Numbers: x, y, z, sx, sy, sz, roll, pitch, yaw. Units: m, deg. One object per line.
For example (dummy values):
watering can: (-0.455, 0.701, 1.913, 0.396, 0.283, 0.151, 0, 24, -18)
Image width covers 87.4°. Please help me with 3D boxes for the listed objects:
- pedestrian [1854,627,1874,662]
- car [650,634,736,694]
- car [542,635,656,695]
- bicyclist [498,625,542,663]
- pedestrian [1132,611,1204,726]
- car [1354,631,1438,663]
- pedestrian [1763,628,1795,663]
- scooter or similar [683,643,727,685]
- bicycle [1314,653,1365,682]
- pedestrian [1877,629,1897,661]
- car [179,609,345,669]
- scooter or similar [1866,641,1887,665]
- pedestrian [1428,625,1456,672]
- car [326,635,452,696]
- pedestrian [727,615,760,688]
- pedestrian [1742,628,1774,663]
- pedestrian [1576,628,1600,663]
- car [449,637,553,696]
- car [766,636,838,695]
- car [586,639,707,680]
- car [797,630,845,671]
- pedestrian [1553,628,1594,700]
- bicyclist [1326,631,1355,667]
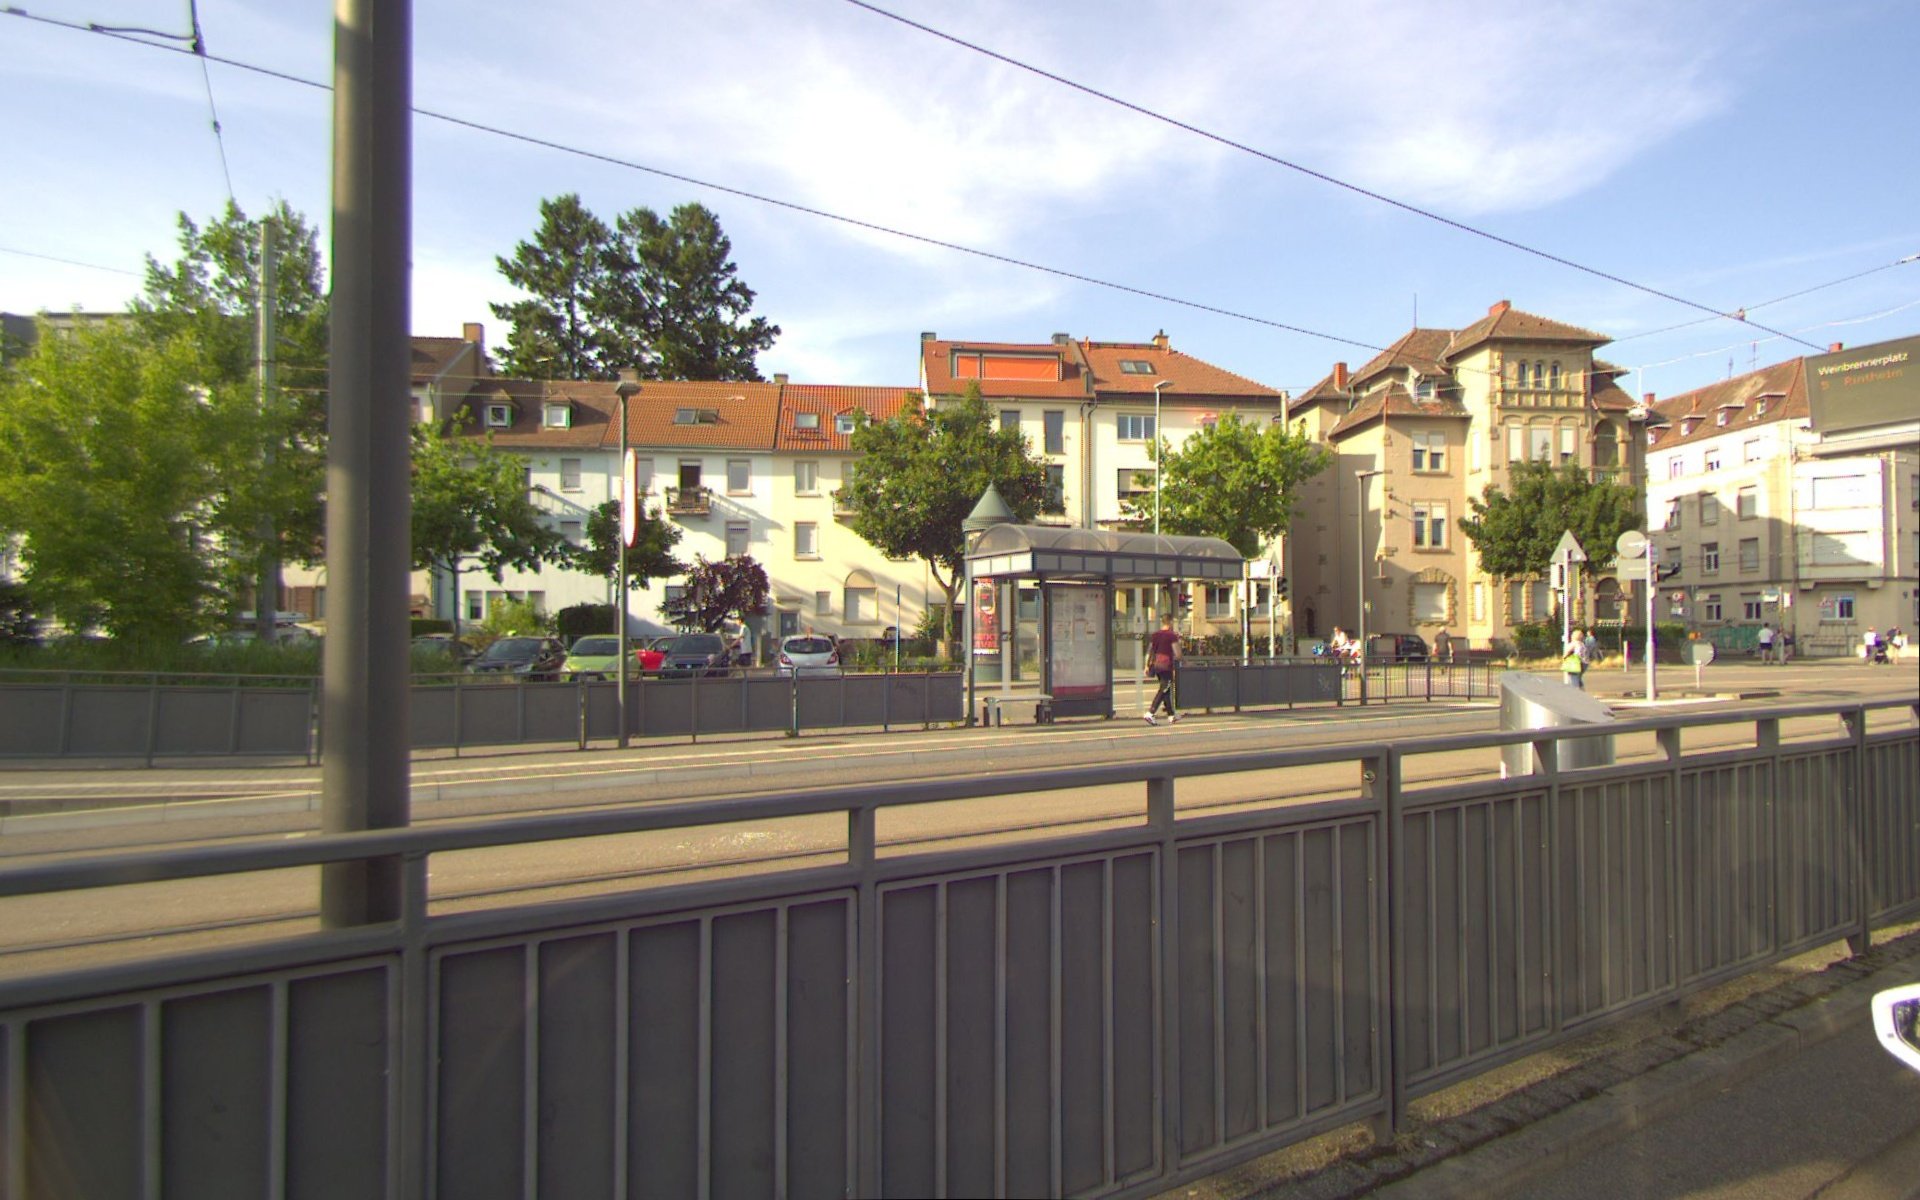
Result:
pedestrian: (43.098, 2.130, 47.871, 0.601, 1.647, 0.506, 1, -2, -29)
car: (-7.165, 1.681, 27.279, 1.815, 1.505, 3.995, 0, -2, -9)
car: (-9.683, 1.710, 27.254, 1.813, 1.505, 3.999, 0, -2, -3)
bicyclist: (-14.745, 1.466, 33.671, 1.153, 1.278, 0.765, 0, -2, -8)
pedestrian: (3.190, 1.051, 15.417, 0.867, 1.706, 0.551, 1, -5, -30)
car: (20.372, 2.171, 47.118, 1.732, 1.327, 4.111, 2, 0, -7)
pedestrian: (37.439, 2.077, 45.930, 0.768, 1.572, 0.831, 0, -2, -8)
scooter or similar: (-6.144, 1.536, 24.224, 1.006, 1.001, 0.556, 0, -2, -15)
bicycle: (11.613, 2.045, 30.705, 1.666, 0.845, 0.523, 1, -2, -30)
pedestrian: (43.502, 2.106, 47.133, 0.540, 1.520, 0.437, 0, -2, -15)
car: (-18.660, 1.048, 27.094, 1.813, 1.505, 3.999, 0, -2, -3)
scooter or similar: (43.932, 2.532, 48.135, 0.675, 1.093, 0.541, 2, 0, -30)
pedestrian: (17.467, 1.758, 36.437, 0.778, 1.667, 0.757, -1, -2, 16)
car: (-14.403, 1.598, 25.587, 1.968, 1.416, 3.985, 0, -2, -18)
pedestrian: (-5.286, 1.252, 24.504, 0.750, 1.769, 0.547, 0, -2, -14)
pedestrian: (37.156, 2.110, 46.772, 0.768, 1.572, 0.831, 0, -2, -8)
pedestrian: (28.122, 2.037, 44.966, 0.702, 1.561, 0.626, 1, -2, -30)
car: (-11.882, 1.674, 26.247, 1.968, 1.416, 3.985, 0, -2, -18)
car: (-4.348, 1.763, 27.817, 1.815, 1.505, 3.995, 0, -2, -9)
car: (-11.225, 2.120, 36.240, 3.927, 1.416, 1.836, 0, -2, -9)
car: (-6.057, 2.195, 44.199, 1.962, 1.684, 3.997, 0, -2, -6)
pedestrian: (14.078, 1.465, 23.056, 0.627, 1.620, 0.608, 1, -2, -36)
bicyclist: (11.632, 1.493, 30.738, 0.671, 1.058, 0.510, 1, -2, -30)
